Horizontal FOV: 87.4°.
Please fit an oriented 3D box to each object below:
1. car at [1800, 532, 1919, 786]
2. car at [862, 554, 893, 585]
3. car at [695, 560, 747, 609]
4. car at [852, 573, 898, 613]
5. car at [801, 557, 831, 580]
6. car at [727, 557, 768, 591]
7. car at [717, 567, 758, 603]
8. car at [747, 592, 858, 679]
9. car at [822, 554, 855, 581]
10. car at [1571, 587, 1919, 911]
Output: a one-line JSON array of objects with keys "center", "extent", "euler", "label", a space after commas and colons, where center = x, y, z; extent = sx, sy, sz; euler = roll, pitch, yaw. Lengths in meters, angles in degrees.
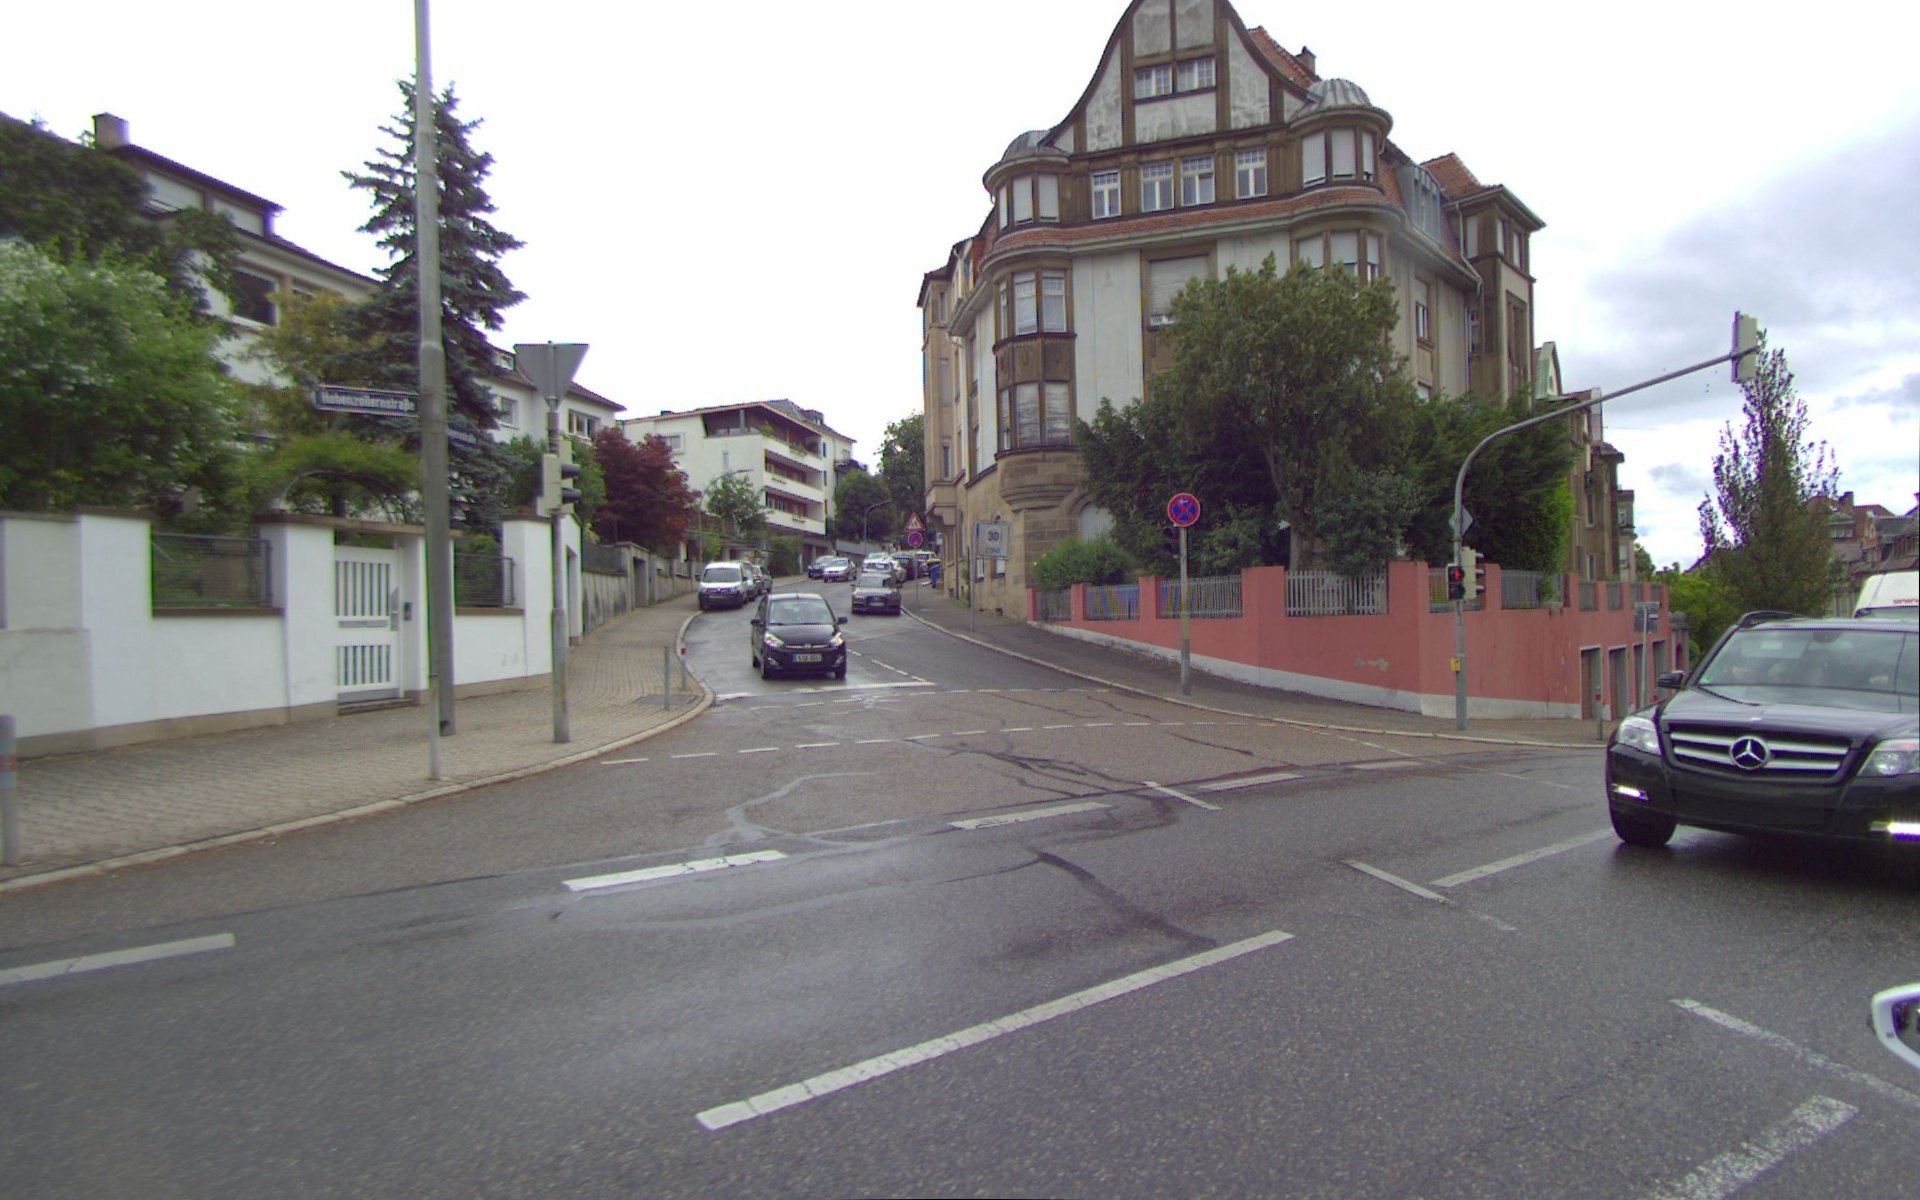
[{"center": [11.969, 0.745, 11.866], "extent": [5.493, 2.578, 2.101], "euler": [4, -4, -39], "label": "car"}, {"center": [-4.578, -1.727, 55.719], "extent": [1.607, 1.473, 3.515], "euler": [2, 5, -4], "label": "car"}, {"center": [-9.795, -0.667, 41.476], "extent": [1.802, 1.856, 3.965], "euler": [0, 3, -9], "label": "car"}, {"center": [-3.273, -0.275, 38.715], "extent": [1.674, 1.473, 3.515], "euler": [1, 1, -5], "label": "car"}, {"center": [-10.092, -2.218, 70.598], "extent": [1.478, 1.473, 3.518], "euler": [2, 3, 2], "label": "car"}, {"center": [-10.561, -1.328, 50.070], "extent": [1.479, 1.473, 3.515], "euler": [2, 5, -4], "label": "car"}, {"center": [-10.118, -0.728, 45.828], "extent": [1.480, 1.473, 3.513], "euler": [1, 3, -8], "label": "car"}, {"center": [-3.175, 0.627, 19.764], "extent": [1.645, 1.458, 3.352], "euler": [-2, 2, -18], "label": "car"}, {"center": [-7.701, -2.079, 63.715], "extent": [1.478, 1.473, 3.518], "euler": [2, 5, 2], "label": "car"}, {"center": [6.208, 0.846, 7.129], "extent": [4.308, 1.674, 1.807], "euler": [2, -2, -38], "label": "car"}]
